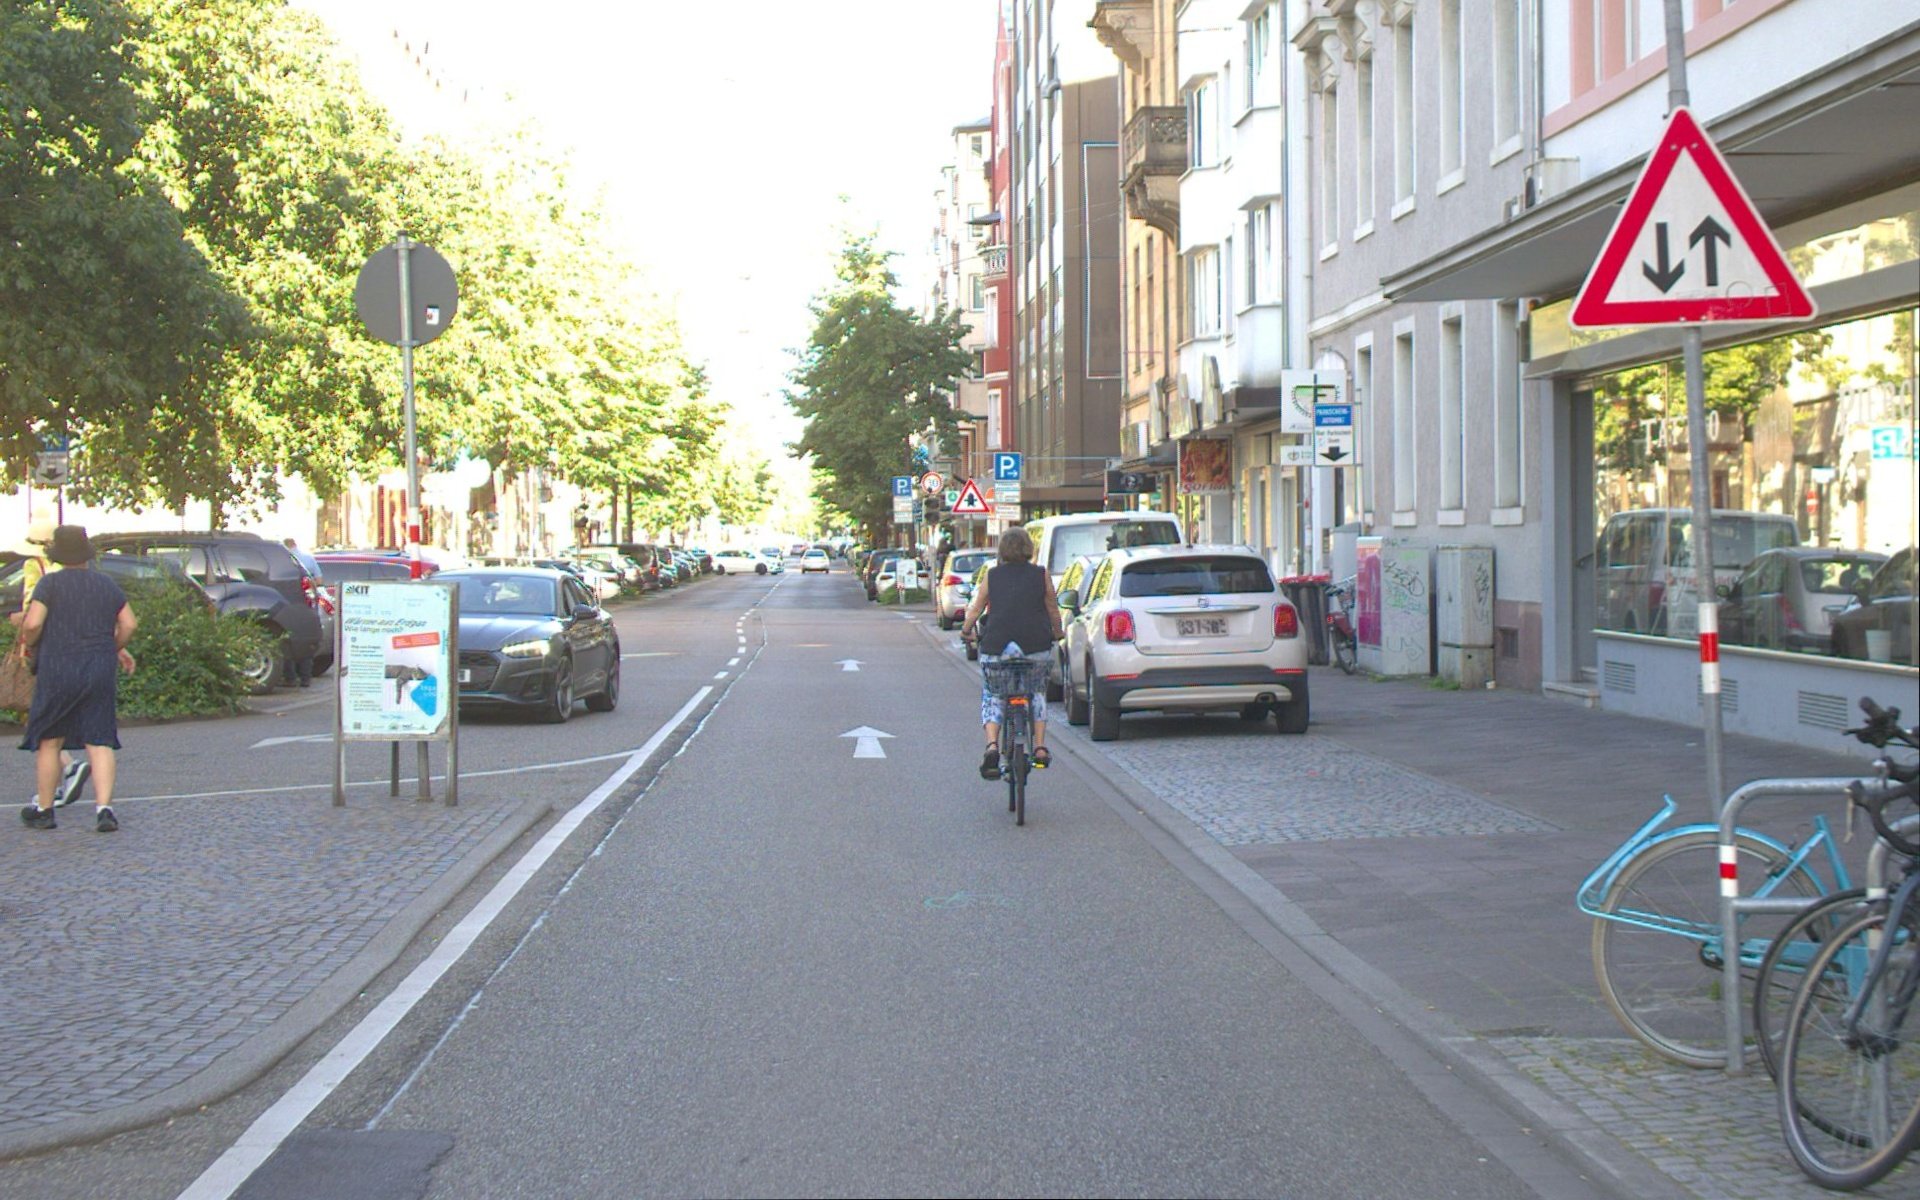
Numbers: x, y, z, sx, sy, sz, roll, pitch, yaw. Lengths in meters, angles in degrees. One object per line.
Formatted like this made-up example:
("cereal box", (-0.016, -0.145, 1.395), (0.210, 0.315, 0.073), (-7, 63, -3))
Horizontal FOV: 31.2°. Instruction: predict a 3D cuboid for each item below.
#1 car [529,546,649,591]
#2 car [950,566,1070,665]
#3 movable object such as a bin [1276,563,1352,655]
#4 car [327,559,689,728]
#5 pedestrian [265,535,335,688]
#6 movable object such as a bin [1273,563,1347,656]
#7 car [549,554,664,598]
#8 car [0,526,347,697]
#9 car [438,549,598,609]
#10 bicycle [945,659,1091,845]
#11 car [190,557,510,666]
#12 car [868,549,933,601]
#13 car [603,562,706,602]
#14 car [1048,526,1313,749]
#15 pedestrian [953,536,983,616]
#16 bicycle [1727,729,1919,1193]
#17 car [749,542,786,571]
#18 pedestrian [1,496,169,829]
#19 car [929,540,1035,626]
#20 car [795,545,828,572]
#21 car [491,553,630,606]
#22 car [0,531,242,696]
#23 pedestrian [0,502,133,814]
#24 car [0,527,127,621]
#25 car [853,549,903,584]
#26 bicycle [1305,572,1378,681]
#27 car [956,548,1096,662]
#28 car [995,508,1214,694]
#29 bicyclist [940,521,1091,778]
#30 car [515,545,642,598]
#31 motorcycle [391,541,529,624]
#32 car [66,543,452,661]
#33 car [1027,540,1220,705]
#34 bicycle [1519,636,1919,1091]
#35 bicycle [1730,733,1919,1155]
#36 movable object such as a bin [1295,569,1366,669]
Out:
("car", (-12.903, -1.087, 119.761), (3.987, 1.503, 1.895), (1, 0, -1))
("car", (0.744, 0.239, 53.248), (1.678, 1.443, 3.785), (1, 0, -2))
("movable object such as a bin", (4.319, 0.106, 41.986), (0.794, 1.073, 0.660), (-3, 0, 0))
("car", (-4.071, 0.383, 31.851), (1.912, 1.412, 4.808), (1, 0, 11))
("pedestrian", (-7.213, 0.122, 37.602), (0.699, 1.644, 0.646), (1, 0, -9))
("movable object such as a bin", (4.347, 0.120, 42.692), (0.838, 1.133, 0.699), (-1, 0, 1))
("car", (-12.779, -0.875, 124.390), (3.986, 1.503, 2.000), (1, 0, -2))
("car", (-8.488, 0.105, 35.457), (3.986, 1.662, 2.001), (1, 1, -18))
("car", (-11.666, -0.558, 90.999), (3.987, 1.503, 2.000), (1, 0, -1))
("bicycle", (0.309, 0.846, 19.933), (0.652, 0.955, 2.698), (1, 0, -3))
("car", (-8.897, 0.173, 50.219), (4.221, 1.472, 1.736), (2, 0, -30))
("car", (-1.900, -0.804, 111.595), (1.993, 1.612, 4.010), (1, 0, 0))
("car", (-12.618, -0.746, 142.146), (3.987, 1.503, 2.000), (2, 0, 2))
("car", (1.819, 0.305, 29.782), (1.745, 1.733, 4.961), (1, 0, -2))
("pedestrian", (0.181, -0.515, 75.124), (0.614, 1.729, 0.634), (1, 0, -1))
("bicycle", (2.677, 0.861, 8.083), (1.680, 1.058, 0.343), (1, 0, 14))
("car", (-11.109, -2.497, 198.382), (1.993, 1.550, 4.000), (1, 0, -2))
("pedestrian", (-4.497, 0.316, 17.657), (0.636, 1.666, 0.692), (1, 0, -31))
("car", (0.423, -0.323, 70.427), (1.899, 1.669, 4.825), (1, 0, -3))
("car", (-8.811, -2.473, 204.704), (1.870, 1.550, 4.000), (1, 0, -2))
("car", (-12.055, -0.625, 103.969), (3.987, 1.503, 2.000), (1, 0, -1))
("car", (-8.864, 0.117, 31.594), (3.987, 1.465, 1.874), (1, 0, -37))
("pedestrian", (-5.159, 0.313, 19.165), (0.804, 1.693, 0.669), (1, 0, 28))
("car", (-19.356, -0.538, 67.833), (5.263, 1.794, 2.164), (1, 0, -28))
("car", (-3.444, -1.414, 143.839), (1.993, 1.448, 4.000), (0, 1, -3))
("bicycle", (4.297, 0.296, 38.654), (0.483, 1.182, 1.718), (-2, -1, 16))
("car", (0.912, 0.079, 49.313), (1.718, 1.510, 3.583), (-2, 0, -3))
("car", (1.586, -0.038, 39.612), (1.993, 1.998, 5.118), (0, 1, -4))
("bicyclist", (0.313, 0.284, 20.101), (0.786, 1.448, 1.096), (1, 0, -3))
("car", (-12.575, -0.939, 113.562), (3.987, 1.668, 2.089), (1, 0, -1))
("motorcycle", (-9.839, -0.340, 67.647), (2.474, 1.599, 0.999), (-1, 1, 17))
("car", (-9.516, 0.044, 46.739), (4.834, 1.483, 1.765), (1, 0, -25))
("car", (1.621, 0.224, 35.206), (1.699, 1.598, 3.757), (0, 0, -1))
("bicycle", (2.495, 0.742, 9.965), (1.623, 1.239, 0.658), (1, 0, 18))
("bicycle", (2.779, 0.856, 8.453), (1.704, 1.001, 0.427), (1, 0, 14))
("movable object such as a bin", (4.383, 0.222, 40.711), (0.768, 1.157, 0.578), (1, 0, 1))
